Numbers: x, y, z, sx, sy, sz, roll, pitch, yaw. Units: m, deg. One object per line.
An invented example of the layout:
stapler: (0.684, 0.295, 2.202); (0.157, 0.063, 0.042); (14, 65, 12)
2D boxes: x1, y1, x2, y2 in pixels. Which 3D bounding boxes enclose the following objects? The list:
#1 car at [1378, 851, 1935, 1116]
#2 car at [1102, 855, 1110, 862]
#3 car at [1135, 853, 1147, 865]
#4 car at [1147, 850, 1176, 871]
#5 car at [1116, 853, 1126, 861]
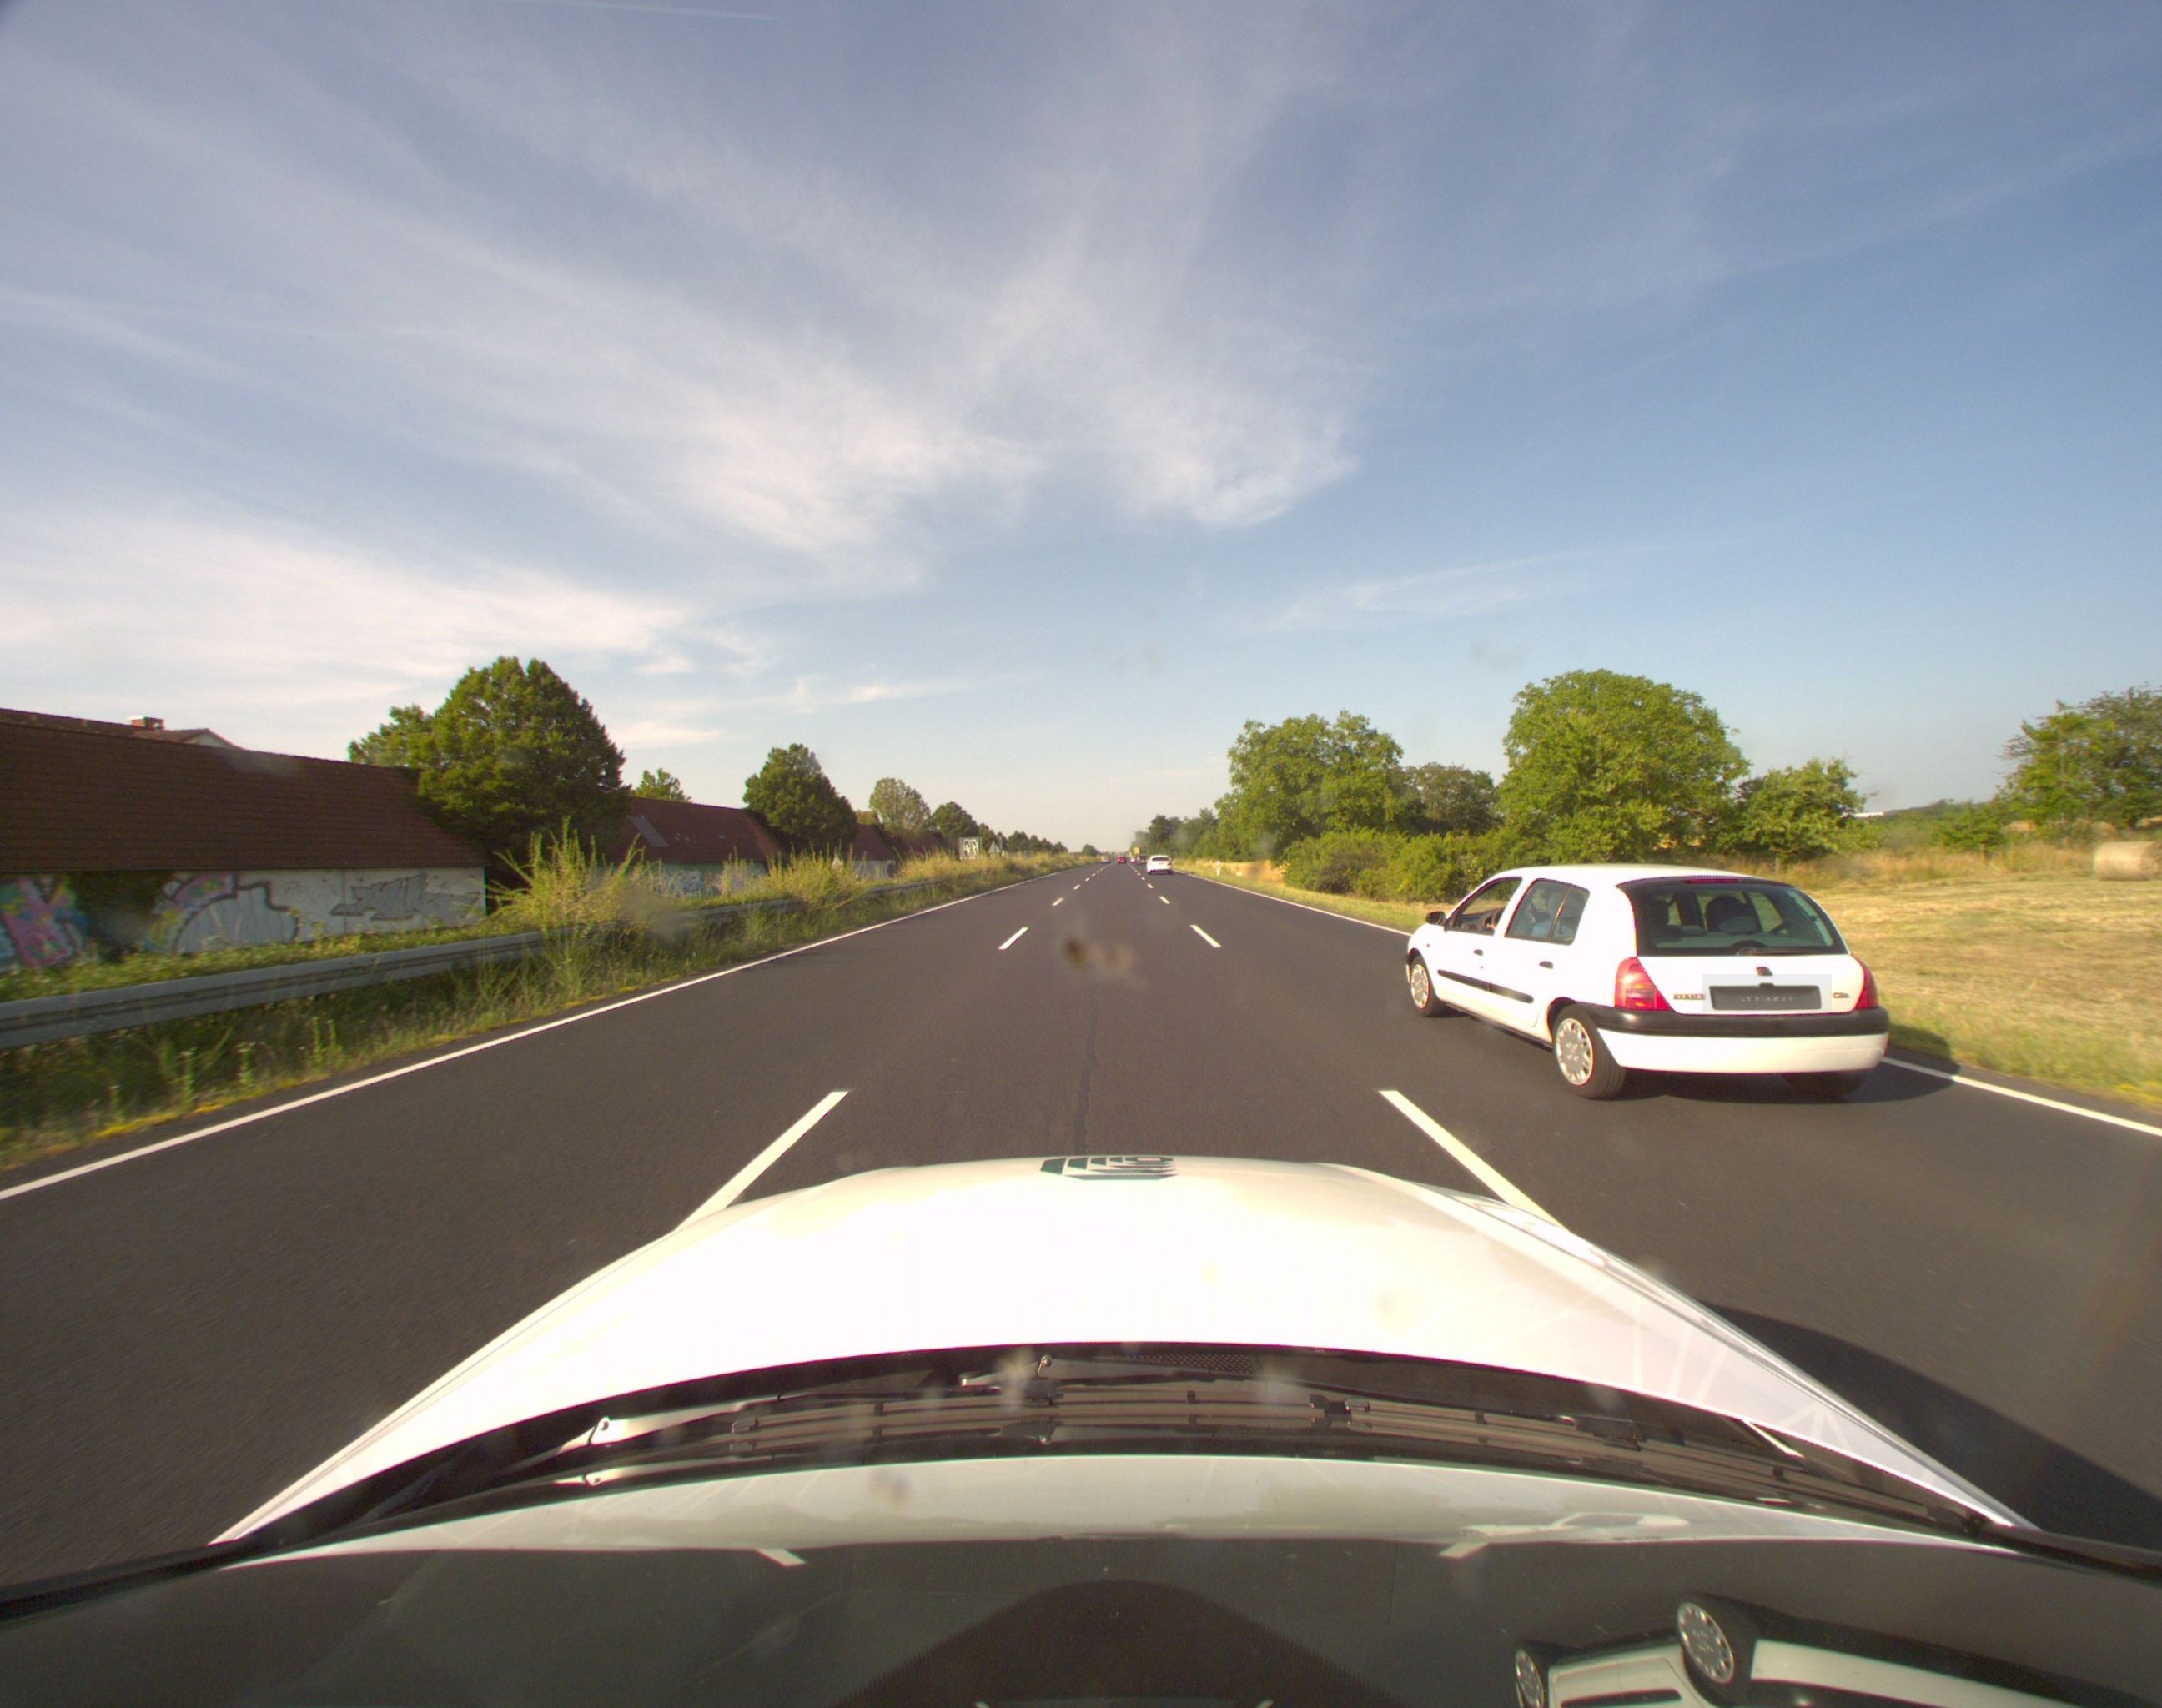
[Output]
car: (3.773, 0.717, 6.307); (1.611, 1.387, 3.953); (-1, -1, 2)
car: (5.760, 0.967, 186.165); (1.750, 1.618, 4.005); (-1, -1, 4)
car: (9.327, 0.760, 126.961); (1.820, 1.728, 4.002); (-1, -1, 2)
car: (5.994, 0.521, 61.068); (1.985, 1.516, 4.002); (-1, -1, 3)
car: (7.617, 0.639, 154.052); (1.805, 1.436, 3.860); (-1, -1, 2)
